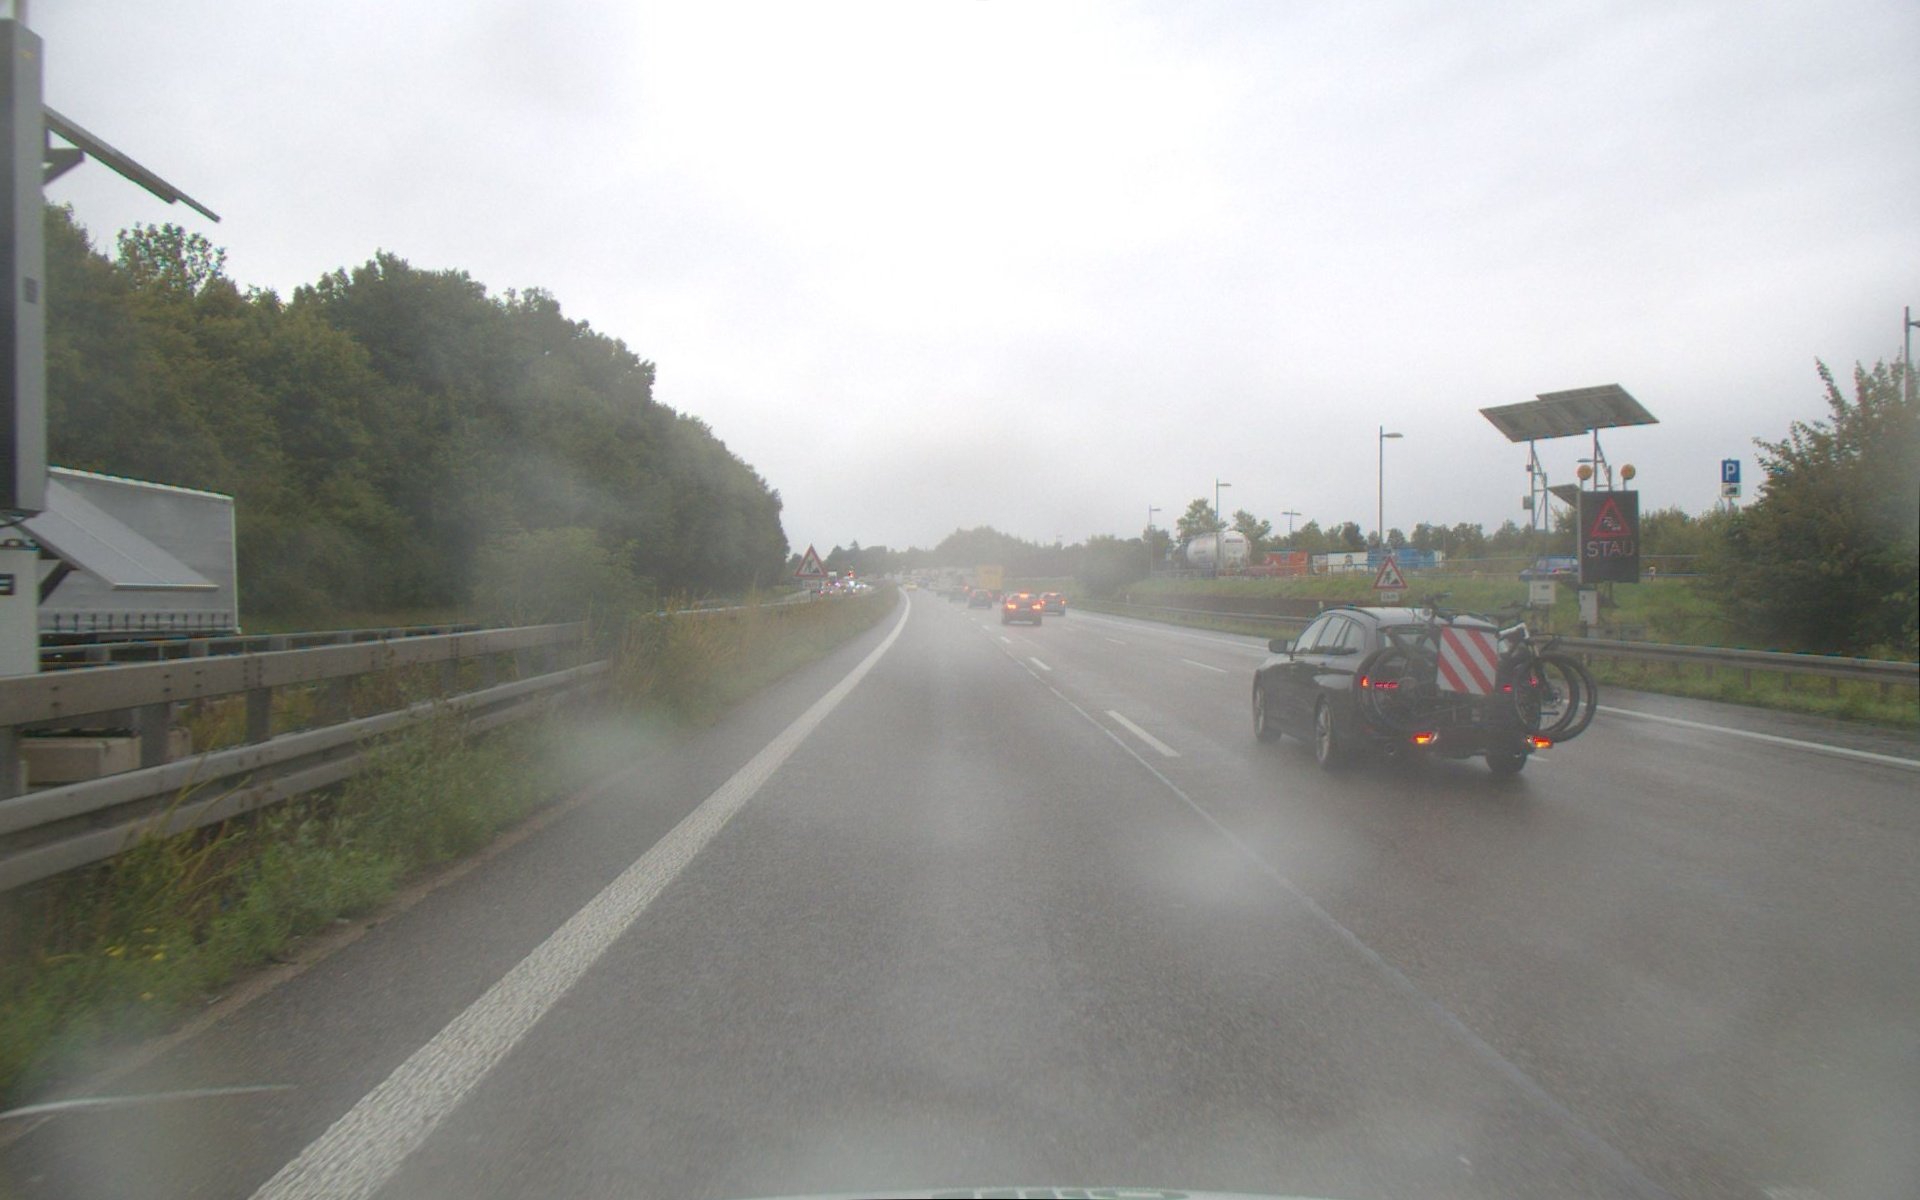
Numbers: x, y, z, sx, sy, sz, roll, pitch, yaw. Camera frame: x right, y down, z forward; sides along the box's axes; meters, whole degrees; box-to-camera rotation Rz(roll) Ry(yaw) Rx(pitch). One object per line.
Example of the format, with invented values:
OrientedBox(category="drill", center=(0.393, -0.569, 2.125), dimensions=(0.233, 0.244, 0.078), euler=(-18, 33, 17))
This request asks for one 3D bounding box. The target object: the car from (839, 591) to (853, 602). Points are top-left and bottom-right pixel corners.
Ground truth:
OrientedBox(category="car", center=(-15.440, -0.426, 223.734), dimensions=(1.644, 1.422, 3.999), euler=(-1, 0, -1))

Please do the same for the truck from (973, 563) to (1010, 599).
OrientedBox(category="truck", center=(3.601, -2.222, 193.994), dimensions=(3.844, 4.051, 12.236), euler=(-1, 0, -1))

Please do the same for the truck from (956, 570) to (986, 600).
OrientedBox(category="truck", center=(1.551, -2.138, 234.362), dimensions=(3.844, 4.051, 12.236), euler=(-1, 0, -1))

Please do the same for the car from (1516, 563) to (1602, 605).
OrientedBox(category="car", center=(24.576, -0.636, 68.026), dimensions=(1.753, 1.653, 3.995), euler=(-1, 0, -6))

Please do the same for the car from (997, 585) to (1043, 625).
OrientedBox(category="car", center=(2.824, 0.228, 78.267), dimensions=(1.953, 1.791, 3.999), euler=(-1, 0, -1))

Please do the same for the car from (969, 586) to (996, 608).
OrientedBox(category="car", center=(1.788, -0.255, 132.938), dimensions=(1.953, 1.657, 3.999), euler=(-1, 0, -1))

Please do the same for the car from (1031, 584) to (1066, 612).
OrientedBox(category="car", center=(5.776, -0.137, 107.947), dimensions=(1.953, 1.791, 3.999), euler=(-1, 0, -1))

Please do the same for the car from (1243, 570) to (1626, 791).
OrientedBox(category="car", center=(4.199, 0.664, 15.747), dimensions=(2.016, 1.701, 5.521), euler=(1, -1, -1))

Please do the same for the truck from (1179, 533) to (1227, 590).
OrientedBox(category="truck", center=(18.629, -2.892, 126.996), dimensions=(2.889, 4.218, 4.921), euler=(-1, 0, -1))

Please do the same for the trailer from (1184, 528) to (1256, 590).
OrientedBox(category="trailer", center=(18.746, -2.876, 120.100), dimensions=(2.924, 4.229, 12.953), euler=(-1, 0, -1))

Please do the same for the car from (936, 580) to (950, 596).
OrientedBox(category="car", center=(-2.384, -1.675, 228.572), dimensions=(1.953, 2.243, 3.999), euler=(-1, 0, -1))

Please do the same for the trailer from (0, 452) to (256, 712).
OrientedBox(category="trailer", center=(-17.217, -0.309, 30.569), dimensions=(2.589, 4.311, 13.909), euler=(-1, 0, -1))

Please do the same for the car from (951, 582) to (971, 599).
OrientedBox(category="car", center=(0.124, -1.007, 172.448), dimensions=(1.953, 1.657, 3.999), euler=(-1, 0, -1))
